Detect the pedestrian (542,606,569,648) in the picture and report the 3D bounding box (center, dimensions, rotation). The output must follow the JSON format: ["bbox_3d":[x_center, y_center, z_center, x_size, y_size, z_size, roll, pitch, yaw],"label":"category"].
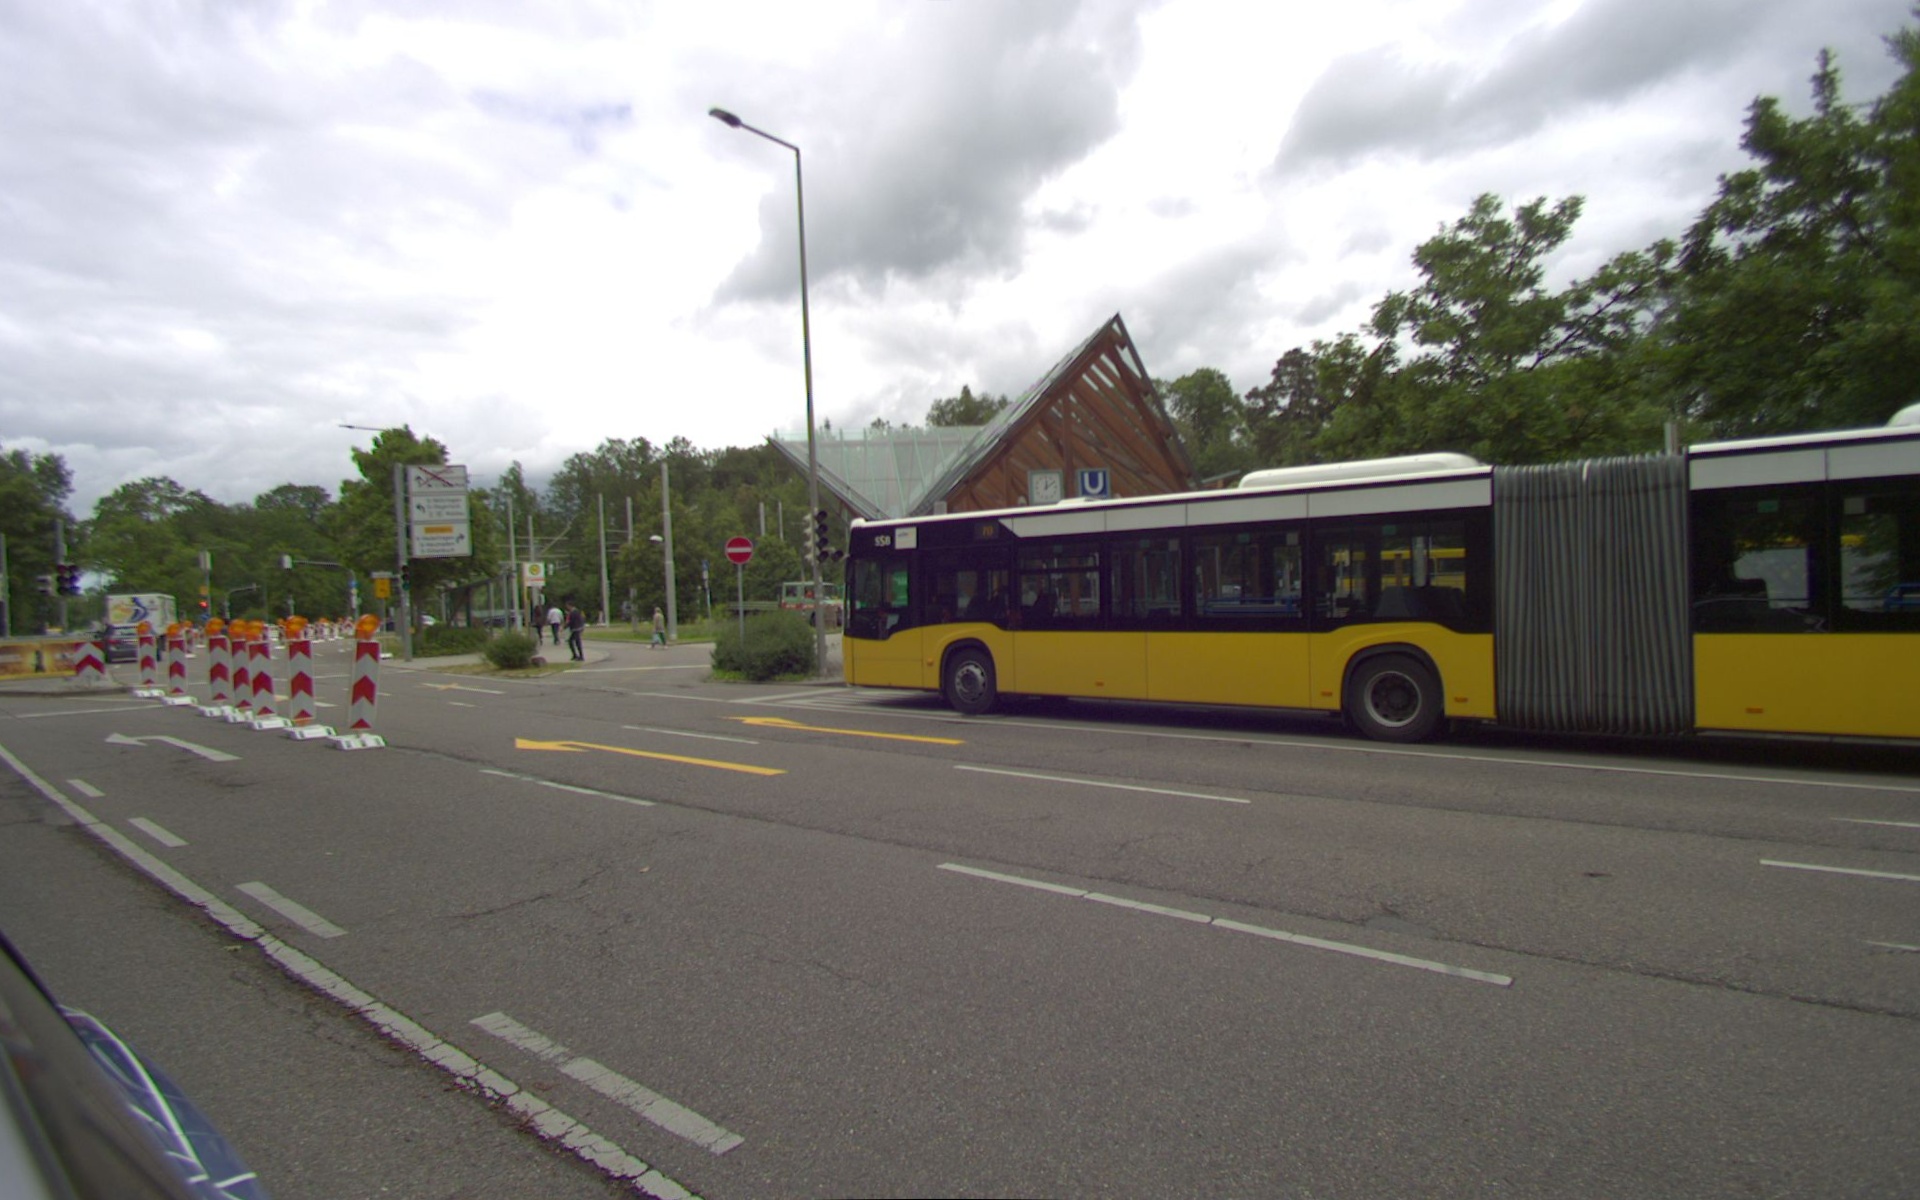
[{"bbox_3d":[-16.463,1.098,41.168,0.675,1.678,0.871,-4,1,-43],"label":"pedestrian"}]

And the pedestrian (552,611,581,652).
[{"bbox_3d":[-15.394,1.233,39.596,0.780,1.563,0.777,-4,1,-40],"label":"pedestrian"}]

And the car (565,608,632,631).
[{"bbox_3d":[-30.145,1.596,84.451,4.835,1.599,1.960,-3,1,-5],"label":"car"}]

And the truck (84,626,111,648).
[{"bbox_3d":[-136.495,5.855,160.191,2.704,3.235,6.688,-4,1,-36],"label":"truck"}]

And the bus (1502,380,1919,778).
[{"bbox_3d":[9.581,-0.222,8.226,8.685,3.150,2.870,-2,0,39],"label":"bus"}]

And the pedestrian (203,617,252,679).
[{"bbox_3d":[-21.022,1.356,29.040,1.076,1.689,0.913,-1,0,-38],"label":"pedestrian"}]

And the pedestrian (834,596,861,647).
[{"bbox_3d":[-3.695,0.698,33.250,0.667,1.608,0.672,-3,0,6],"label":"pedestrian"}]

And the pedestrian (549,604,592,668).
[{"bbox_3d":[-11.786,1.079,30.659,0.979,1.822,0.767,-3,0,-7],"label":"pedestrian"}]

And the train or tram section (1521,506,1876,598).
[{"bbox_3d":[46.521,-2.948,64.526,18.468,4.567,3.578,-3,0,9],"label":"train or tram section"}]

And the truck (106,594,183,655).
[{"bbox_3d":[-46.475,1.371,57.805,2.592,3.263,6.224,0,-1,-31],"label":"truck"}]

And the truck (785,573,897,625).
[{"bbox_3d":[-10.322,-0.109,87.861,8.709,3.910,3.762,-3,0,21],"label":"truck"}]

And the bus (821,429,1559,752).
[{"bbox_3d":[2.483,0.003,14.113,9.750,3.150,2.870,-2,0,40],"label":"bus"}]

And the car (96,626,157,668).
[{"bbox_3d":[-33.267,1.817,40.373,1.785,1.520,4.315,0,-1,-40],"label":"car"}]

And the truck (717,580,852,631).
[{"bbox_3d":[-8.948,0.290,51.615,6.259,2.186,2.589,-3,1,22],"label":"truck"}]

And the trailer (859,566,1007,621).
[{"bbox_3d":[-2.287,-0.552,84.692,11.784,3.910,3.762,-3,0,21],"label":"trailer"}]

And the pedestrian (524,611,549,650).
[{"bbox_3d":[-17.541,1.254,41.927,0.764,1.557,0.630,-4,2,-38],"label":"pedestrian"}]

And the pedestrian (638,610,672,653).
[{"bbox_3d":[-11.380,1.184,37.782,0.873,1.536,0.759,-3,0,35],"label":"pedestrian"}]
